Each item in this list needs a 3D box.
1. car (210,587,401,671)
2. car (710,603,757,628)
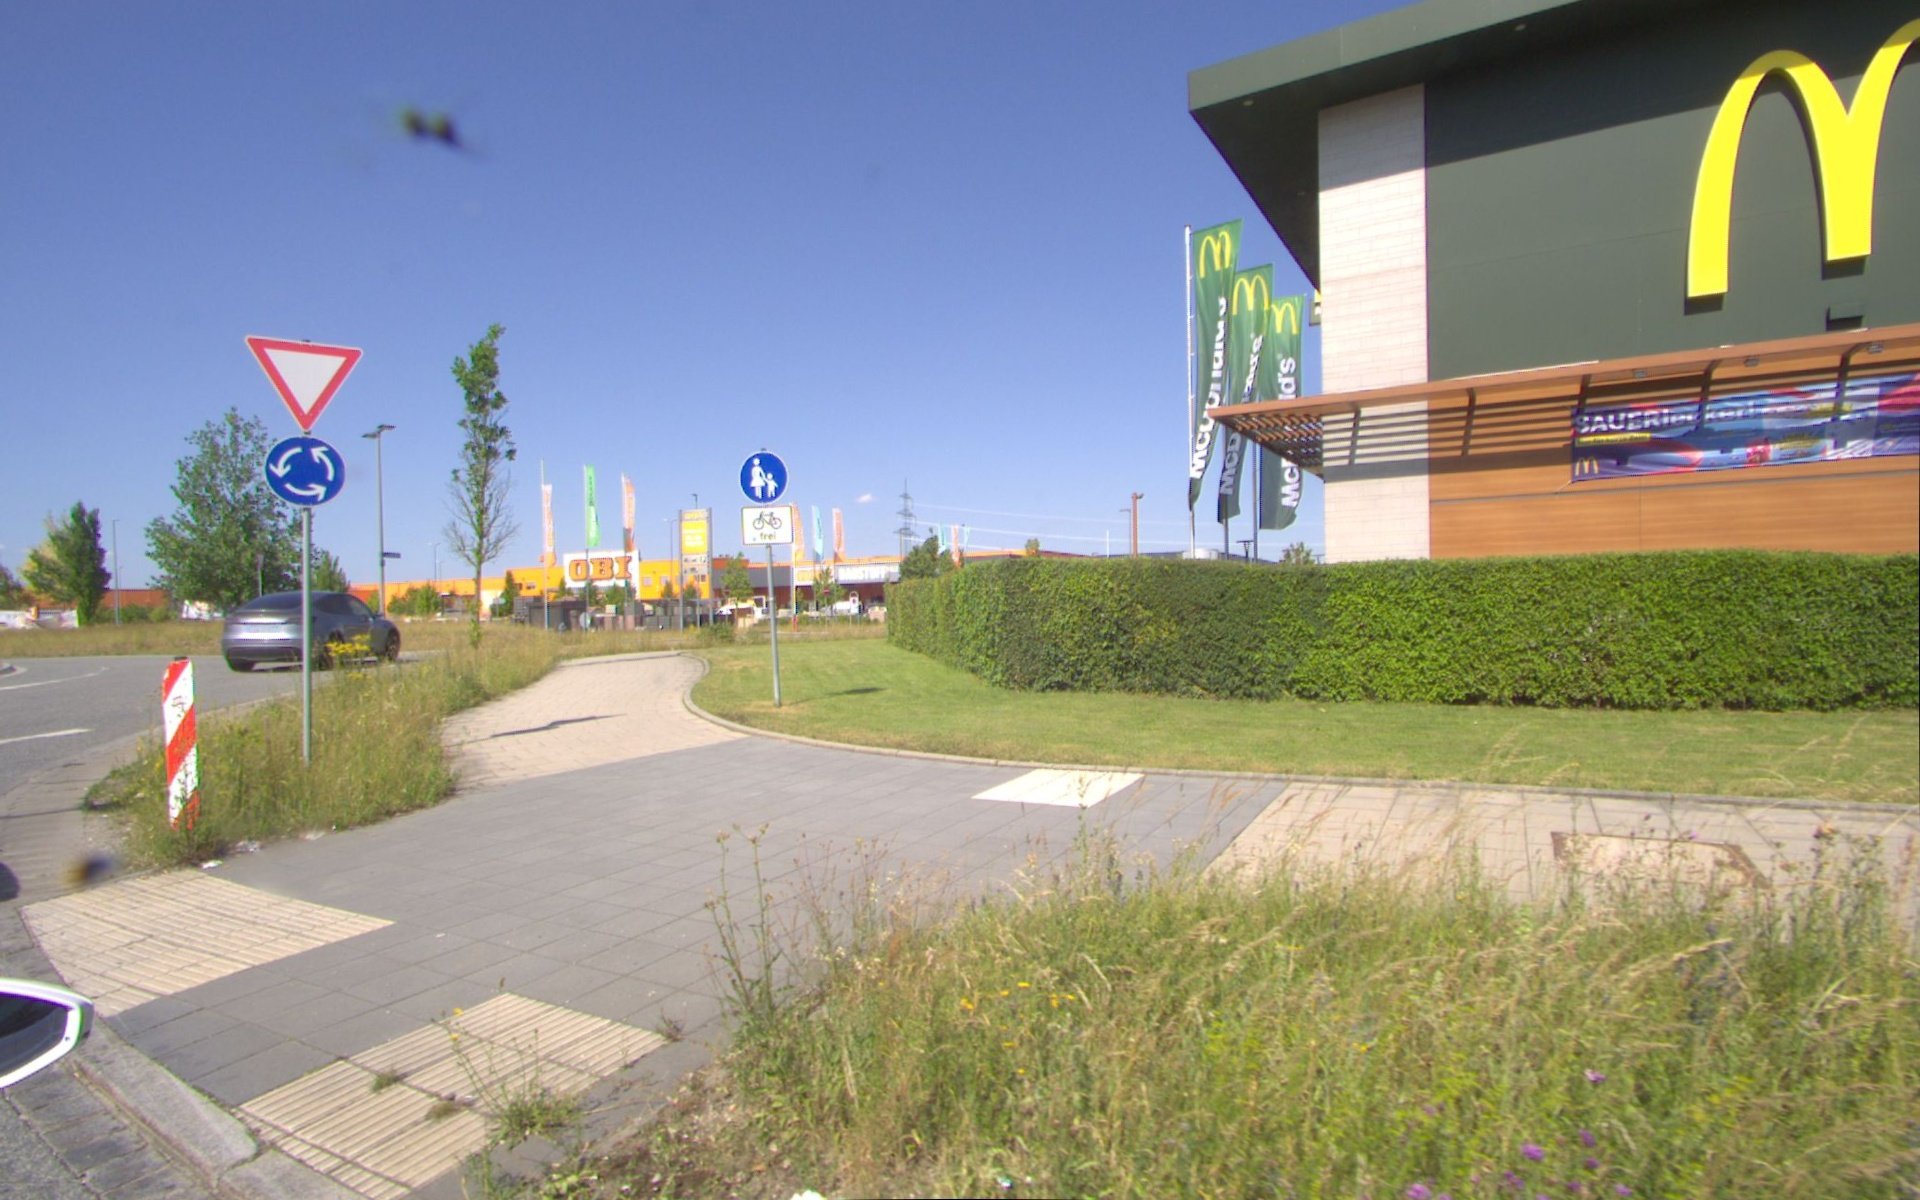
[{"bbox_3d":[-13.859,0.571,21.516,1.797,1.605,4.165,-1,0,-8],"label":"car"},{"bbox_3d":[-17.840,1.244,78.969,1.673,1.864,3.763,-1,-2,26],"label":"car"}]
